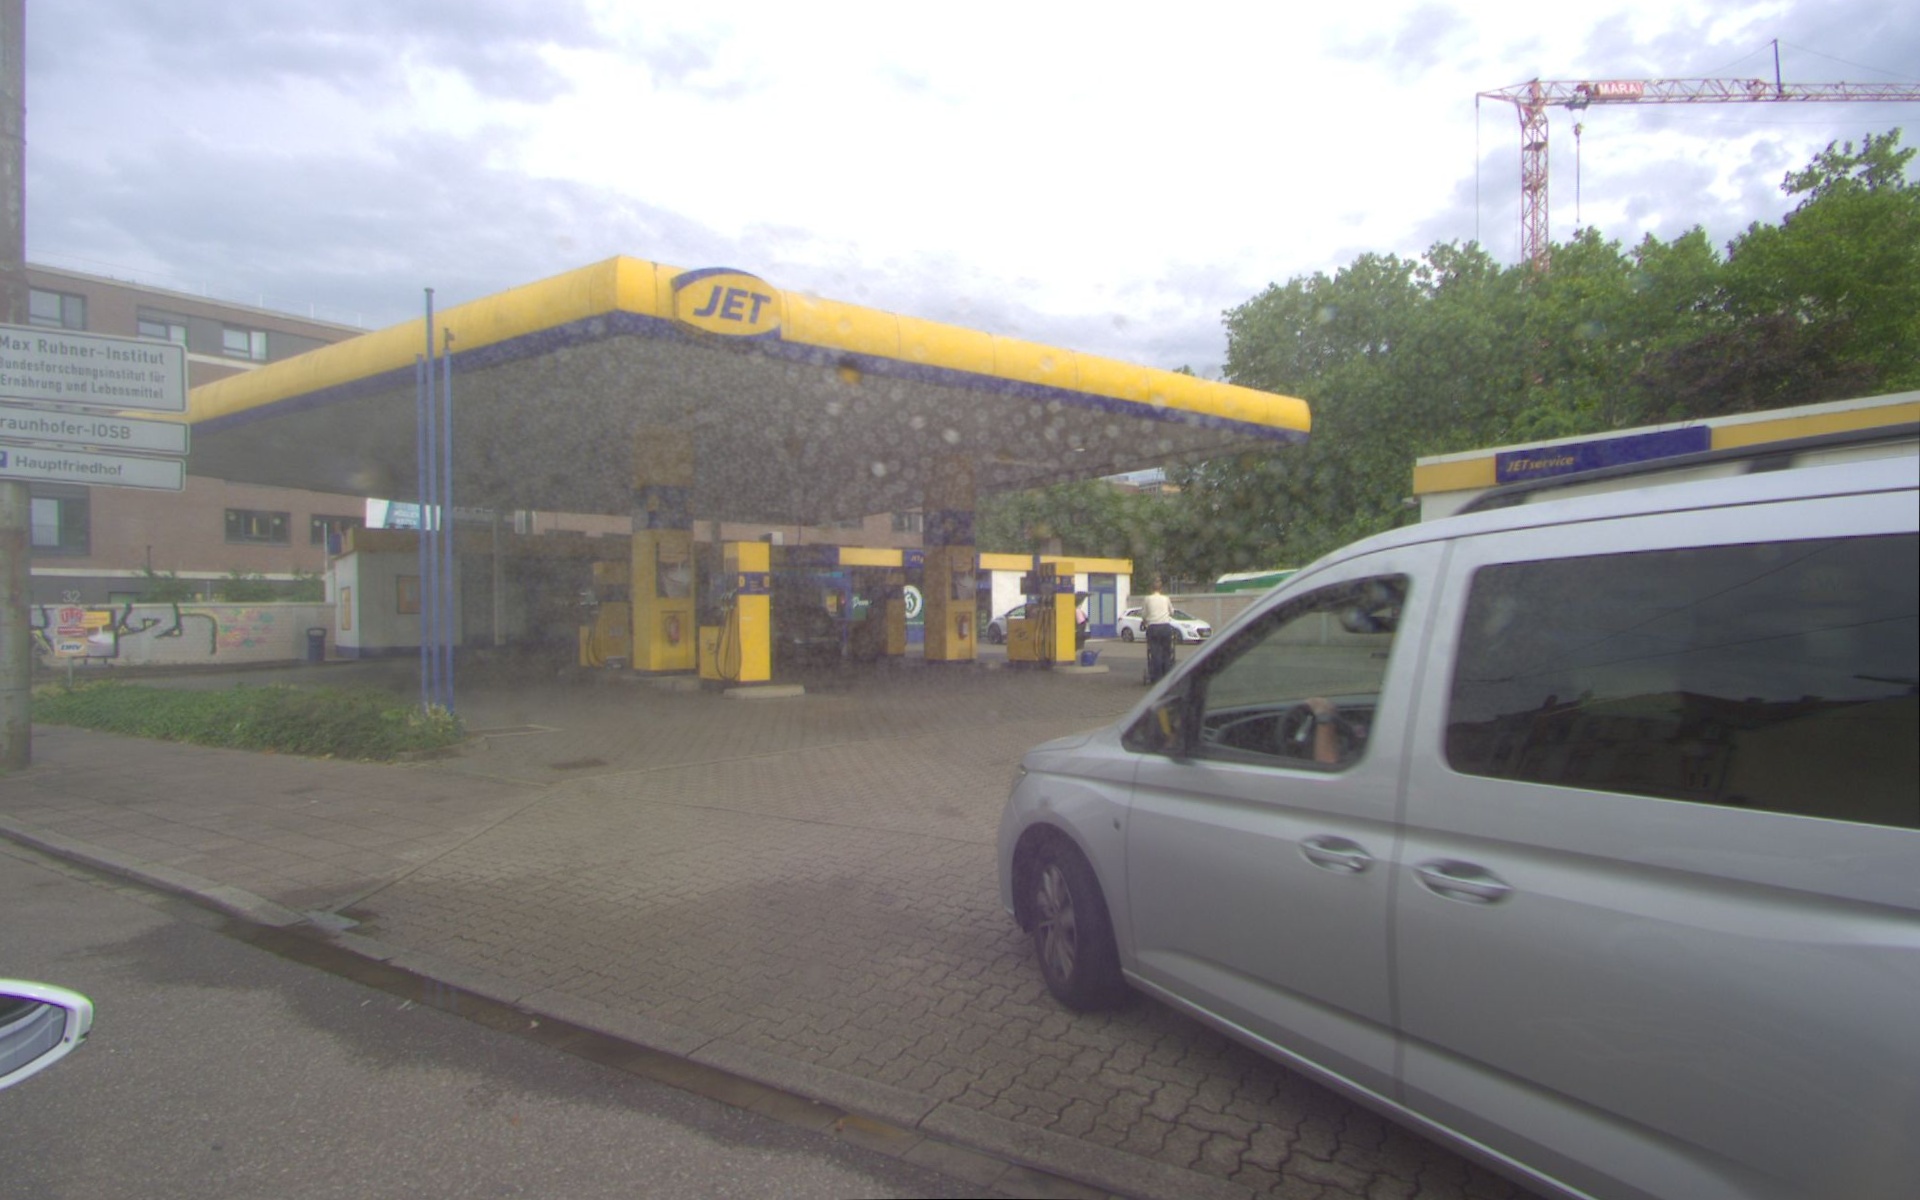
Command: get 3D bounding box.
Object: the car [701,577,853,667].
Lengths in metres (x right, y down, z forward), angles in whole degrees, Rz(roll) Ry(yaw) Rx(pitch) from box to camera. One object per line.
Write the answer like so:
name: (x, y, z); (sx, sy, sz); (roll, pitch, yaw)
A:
car: (-4.558, 0.536, 24.496); (1.804, 2.014, 4.219); (-1, -1, -40)

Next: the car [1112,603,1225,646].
car: (8.595, 0.974, 41.584); (1.936, 1.607, 4.391); (1, 0, -37)

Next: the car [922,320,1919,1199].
car: (1.782, 0.502, 2.788); (1.958, 1.868, 4.505); (-2, 1, -29)

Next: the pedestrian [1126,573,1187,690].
pedestrian: (3.203, 0.493, 16.376); (0.592, 1.844, 0.968); (0, 2, -14)

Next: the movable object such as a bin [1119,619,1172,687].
movable object such as a bin: (3.091, 0.870, 16.740); (0.592, 1.080, 0.794); (0, 2, -14)

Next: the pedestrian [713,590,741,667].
pedestrian: (-5.630, 0.689, 24.161); (0.616, 1.810, 0.707); (0, -1, -16)

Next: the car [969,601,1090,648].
car: (2.572, 0.874, 38.223); (1.919, 1.617, 4.723); (0, 1, -38)

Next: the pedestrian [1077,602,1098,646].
pedestrian: (4.663, 0.868, 36.582); (0.492, 1.564, 0.547); (0, 1, -34)
